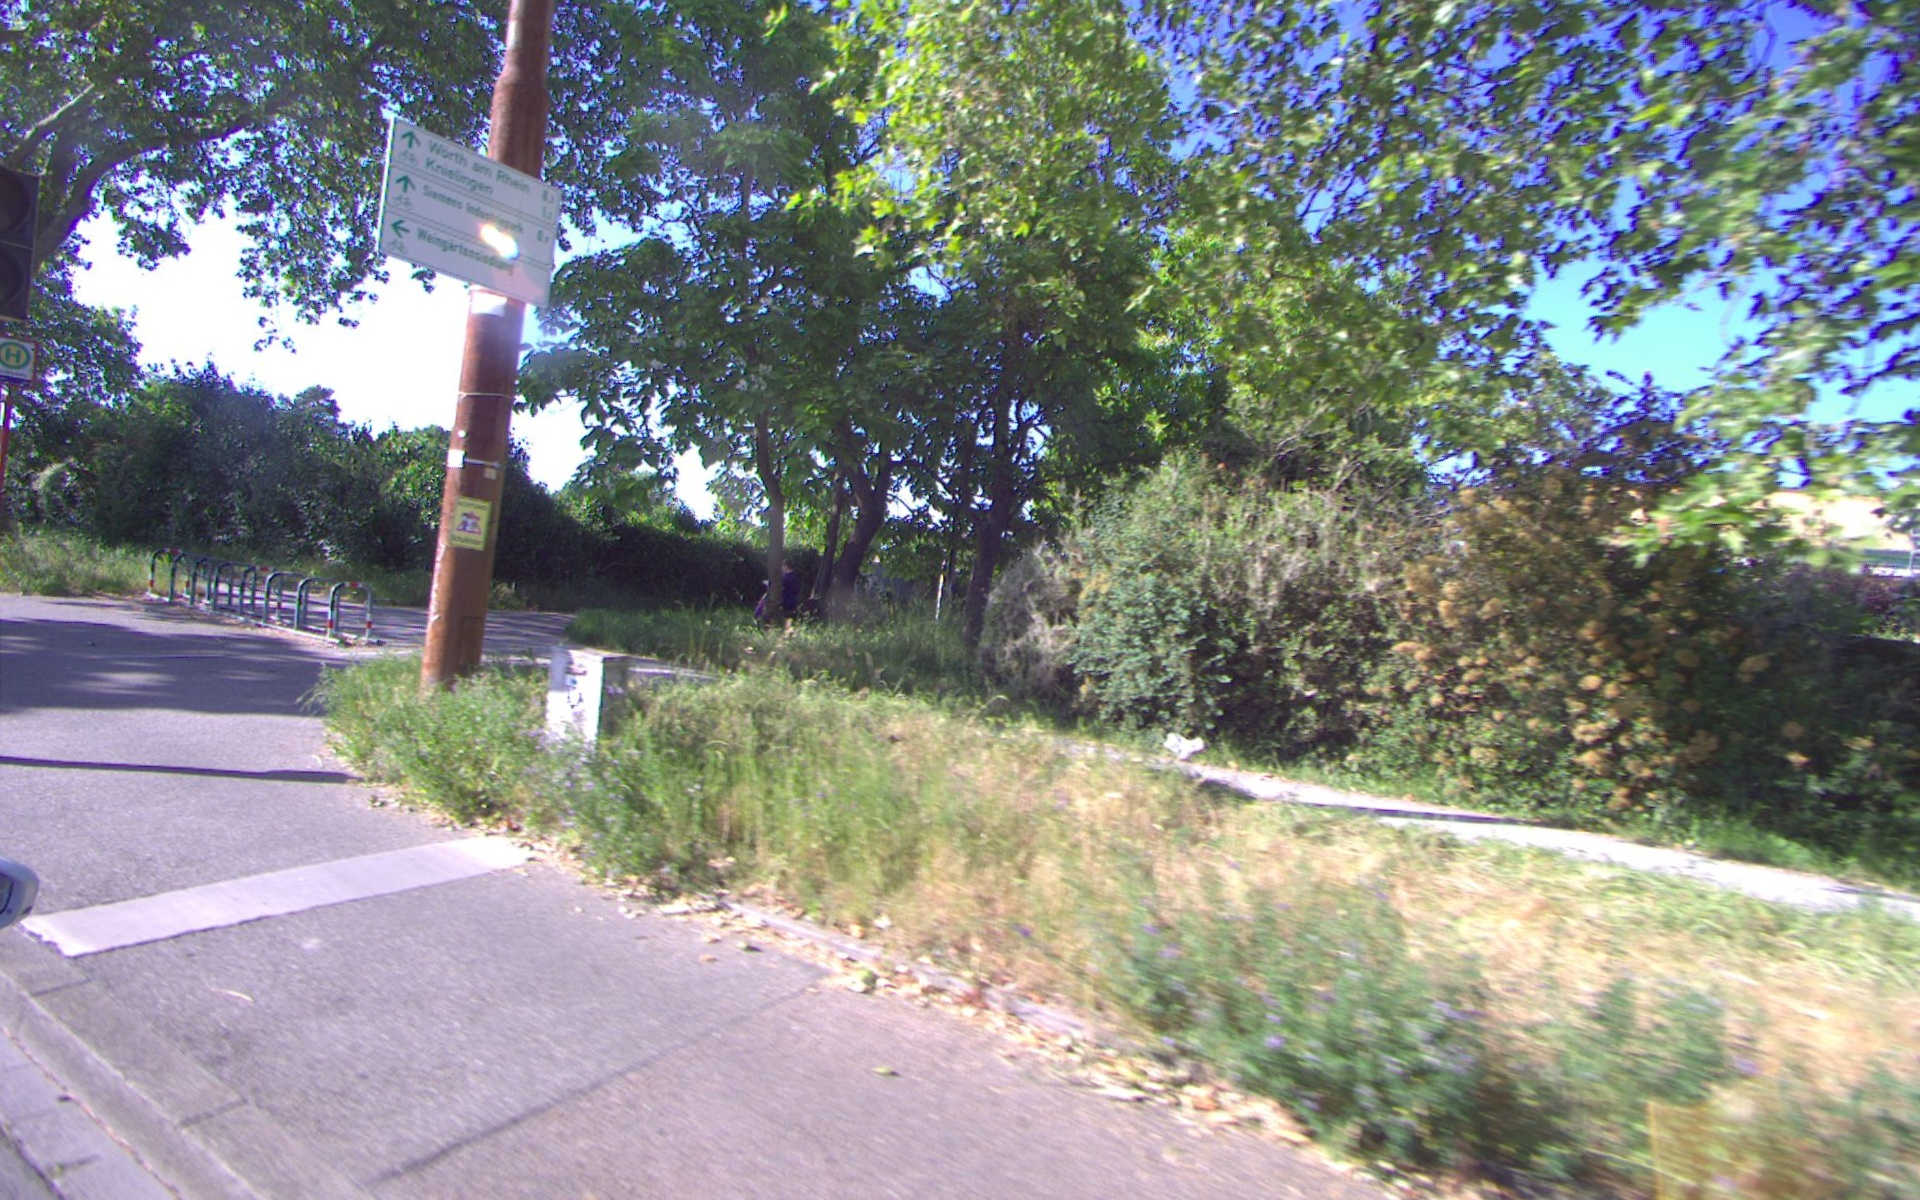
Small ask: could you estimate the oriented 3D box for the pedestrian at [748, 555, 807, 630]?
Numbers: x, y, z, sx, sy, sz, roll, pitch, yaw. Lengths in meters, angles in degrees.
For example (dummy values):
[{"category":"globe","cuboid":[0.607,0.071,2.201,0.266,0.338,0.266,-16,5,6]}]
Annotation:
[{"category":"pedestrian","cuboid":[-3.276,-0.130,18.081,0.677,1.234,0.737,7,-1,11]}]
